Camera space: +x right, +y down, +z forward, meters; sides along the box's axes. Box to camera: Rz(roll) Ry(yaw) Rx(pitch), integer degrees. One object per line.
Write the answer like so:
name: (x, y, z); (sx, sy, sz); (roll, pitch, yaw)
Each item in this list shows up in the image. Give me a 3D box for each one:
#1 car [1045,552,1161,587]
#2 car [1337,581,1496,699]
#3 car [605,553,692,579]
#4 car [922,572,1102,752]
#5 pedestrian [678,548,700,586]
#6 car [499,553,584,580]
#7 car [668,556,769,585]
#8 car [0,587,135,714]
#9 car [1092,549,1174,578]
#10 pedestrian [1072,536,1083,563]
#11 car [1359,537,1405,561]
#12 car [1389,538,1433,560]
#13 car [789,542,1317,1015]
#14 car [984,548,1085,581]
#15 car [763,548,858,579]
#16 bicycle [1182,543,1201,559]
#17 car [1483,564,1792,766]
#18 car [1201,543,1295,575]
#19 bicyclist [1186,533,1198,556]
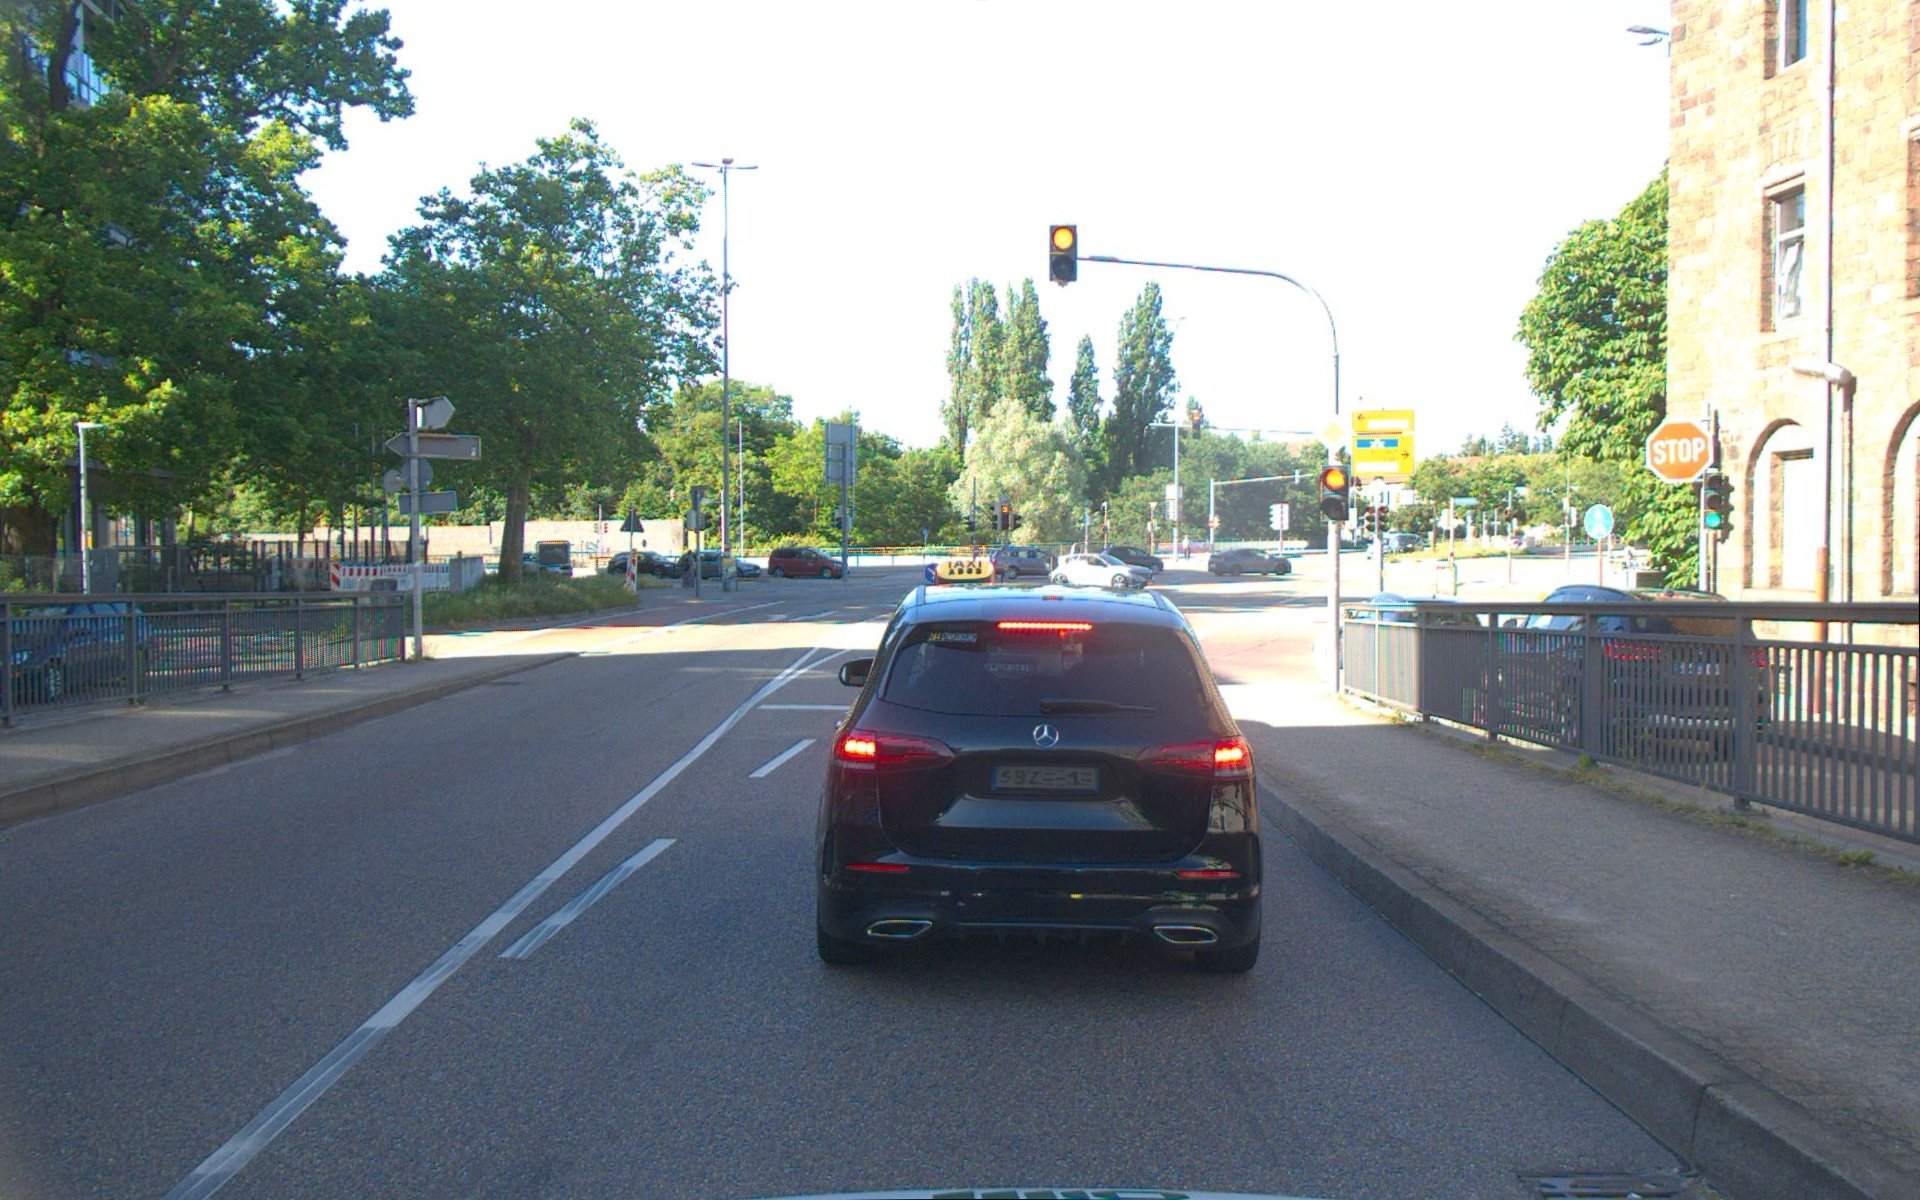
car: (5.659, -1.217, 65.541); (4.141, 1.317, 1.996); (0, 3, 32)
car: (7.658, 0.604, 28.144); (1.685, 1.631, 4.301); (1, 3, 3)
car: (-16.817, -1.841, 89.236); (4.496, 1.317, 1.882); (0, 3, 32)
car: (0.515, 0.535, 16.723); (1.606, 1.556, 3.475); (-1, 2, 1)
pedestrian: (-11.114, -1.367, 67.839); (0.690, 1.552, 0.744); (1, 1, 10)
car: (-22.217, -1.780, 87.829); (4.221, 1.389, 1.996); (0, 3, 31)
car: (-11.982, -1.480, 82.082); (4.482, 1.317, 2.002); (0, 3, 16)
car: (-14.766, 0.721, 25.796); (1.814, 1.722, 4.000); (0, 2, -1)
car: (9.035, -1.898, 86.504); (3.988, 1.381, 1.785); (-2, 3, -8)
pedestrian: (7.329, -3.148, 103.123); (0.443, 1.613, 0.499); (0, 2, 40)
car: (29.431, -3.538, 115.168); (1.846, 1.605, 3.987); (1, 2, 35)
car: (32.833, -3.724, 120.377); (1.846, 1.605, 3.987); (1, 2, 35)
car: (0.303, 0.605, 7.834); (1.839, 1.641, 4.000); (1, 1, -1)
car: (3.626, -1.748, 81.191); (4.713, 1.466, 1.999); (-1, 3, -5)
car: (-7.721, -1.875, 85.679); (4.440, 1.481, 2.002); (-1, 3, 14)
bicycle: (16.062, -3.376, 114.683); (0.516, 1.068, 1.985); (-1, 2, 32)
car: (7.485, 0.606, 18.739); (1.686, 1.843, 4.298); (-1, 3, -1)
car: (14.428, -2.090, 82.902); (4.204, 1.466, 1.995); (-2, 3, -11)
bicyclist: (16.062, -3.862, 114.661); (0.516, 1.578, 0.805); (-1, 2, 32)
